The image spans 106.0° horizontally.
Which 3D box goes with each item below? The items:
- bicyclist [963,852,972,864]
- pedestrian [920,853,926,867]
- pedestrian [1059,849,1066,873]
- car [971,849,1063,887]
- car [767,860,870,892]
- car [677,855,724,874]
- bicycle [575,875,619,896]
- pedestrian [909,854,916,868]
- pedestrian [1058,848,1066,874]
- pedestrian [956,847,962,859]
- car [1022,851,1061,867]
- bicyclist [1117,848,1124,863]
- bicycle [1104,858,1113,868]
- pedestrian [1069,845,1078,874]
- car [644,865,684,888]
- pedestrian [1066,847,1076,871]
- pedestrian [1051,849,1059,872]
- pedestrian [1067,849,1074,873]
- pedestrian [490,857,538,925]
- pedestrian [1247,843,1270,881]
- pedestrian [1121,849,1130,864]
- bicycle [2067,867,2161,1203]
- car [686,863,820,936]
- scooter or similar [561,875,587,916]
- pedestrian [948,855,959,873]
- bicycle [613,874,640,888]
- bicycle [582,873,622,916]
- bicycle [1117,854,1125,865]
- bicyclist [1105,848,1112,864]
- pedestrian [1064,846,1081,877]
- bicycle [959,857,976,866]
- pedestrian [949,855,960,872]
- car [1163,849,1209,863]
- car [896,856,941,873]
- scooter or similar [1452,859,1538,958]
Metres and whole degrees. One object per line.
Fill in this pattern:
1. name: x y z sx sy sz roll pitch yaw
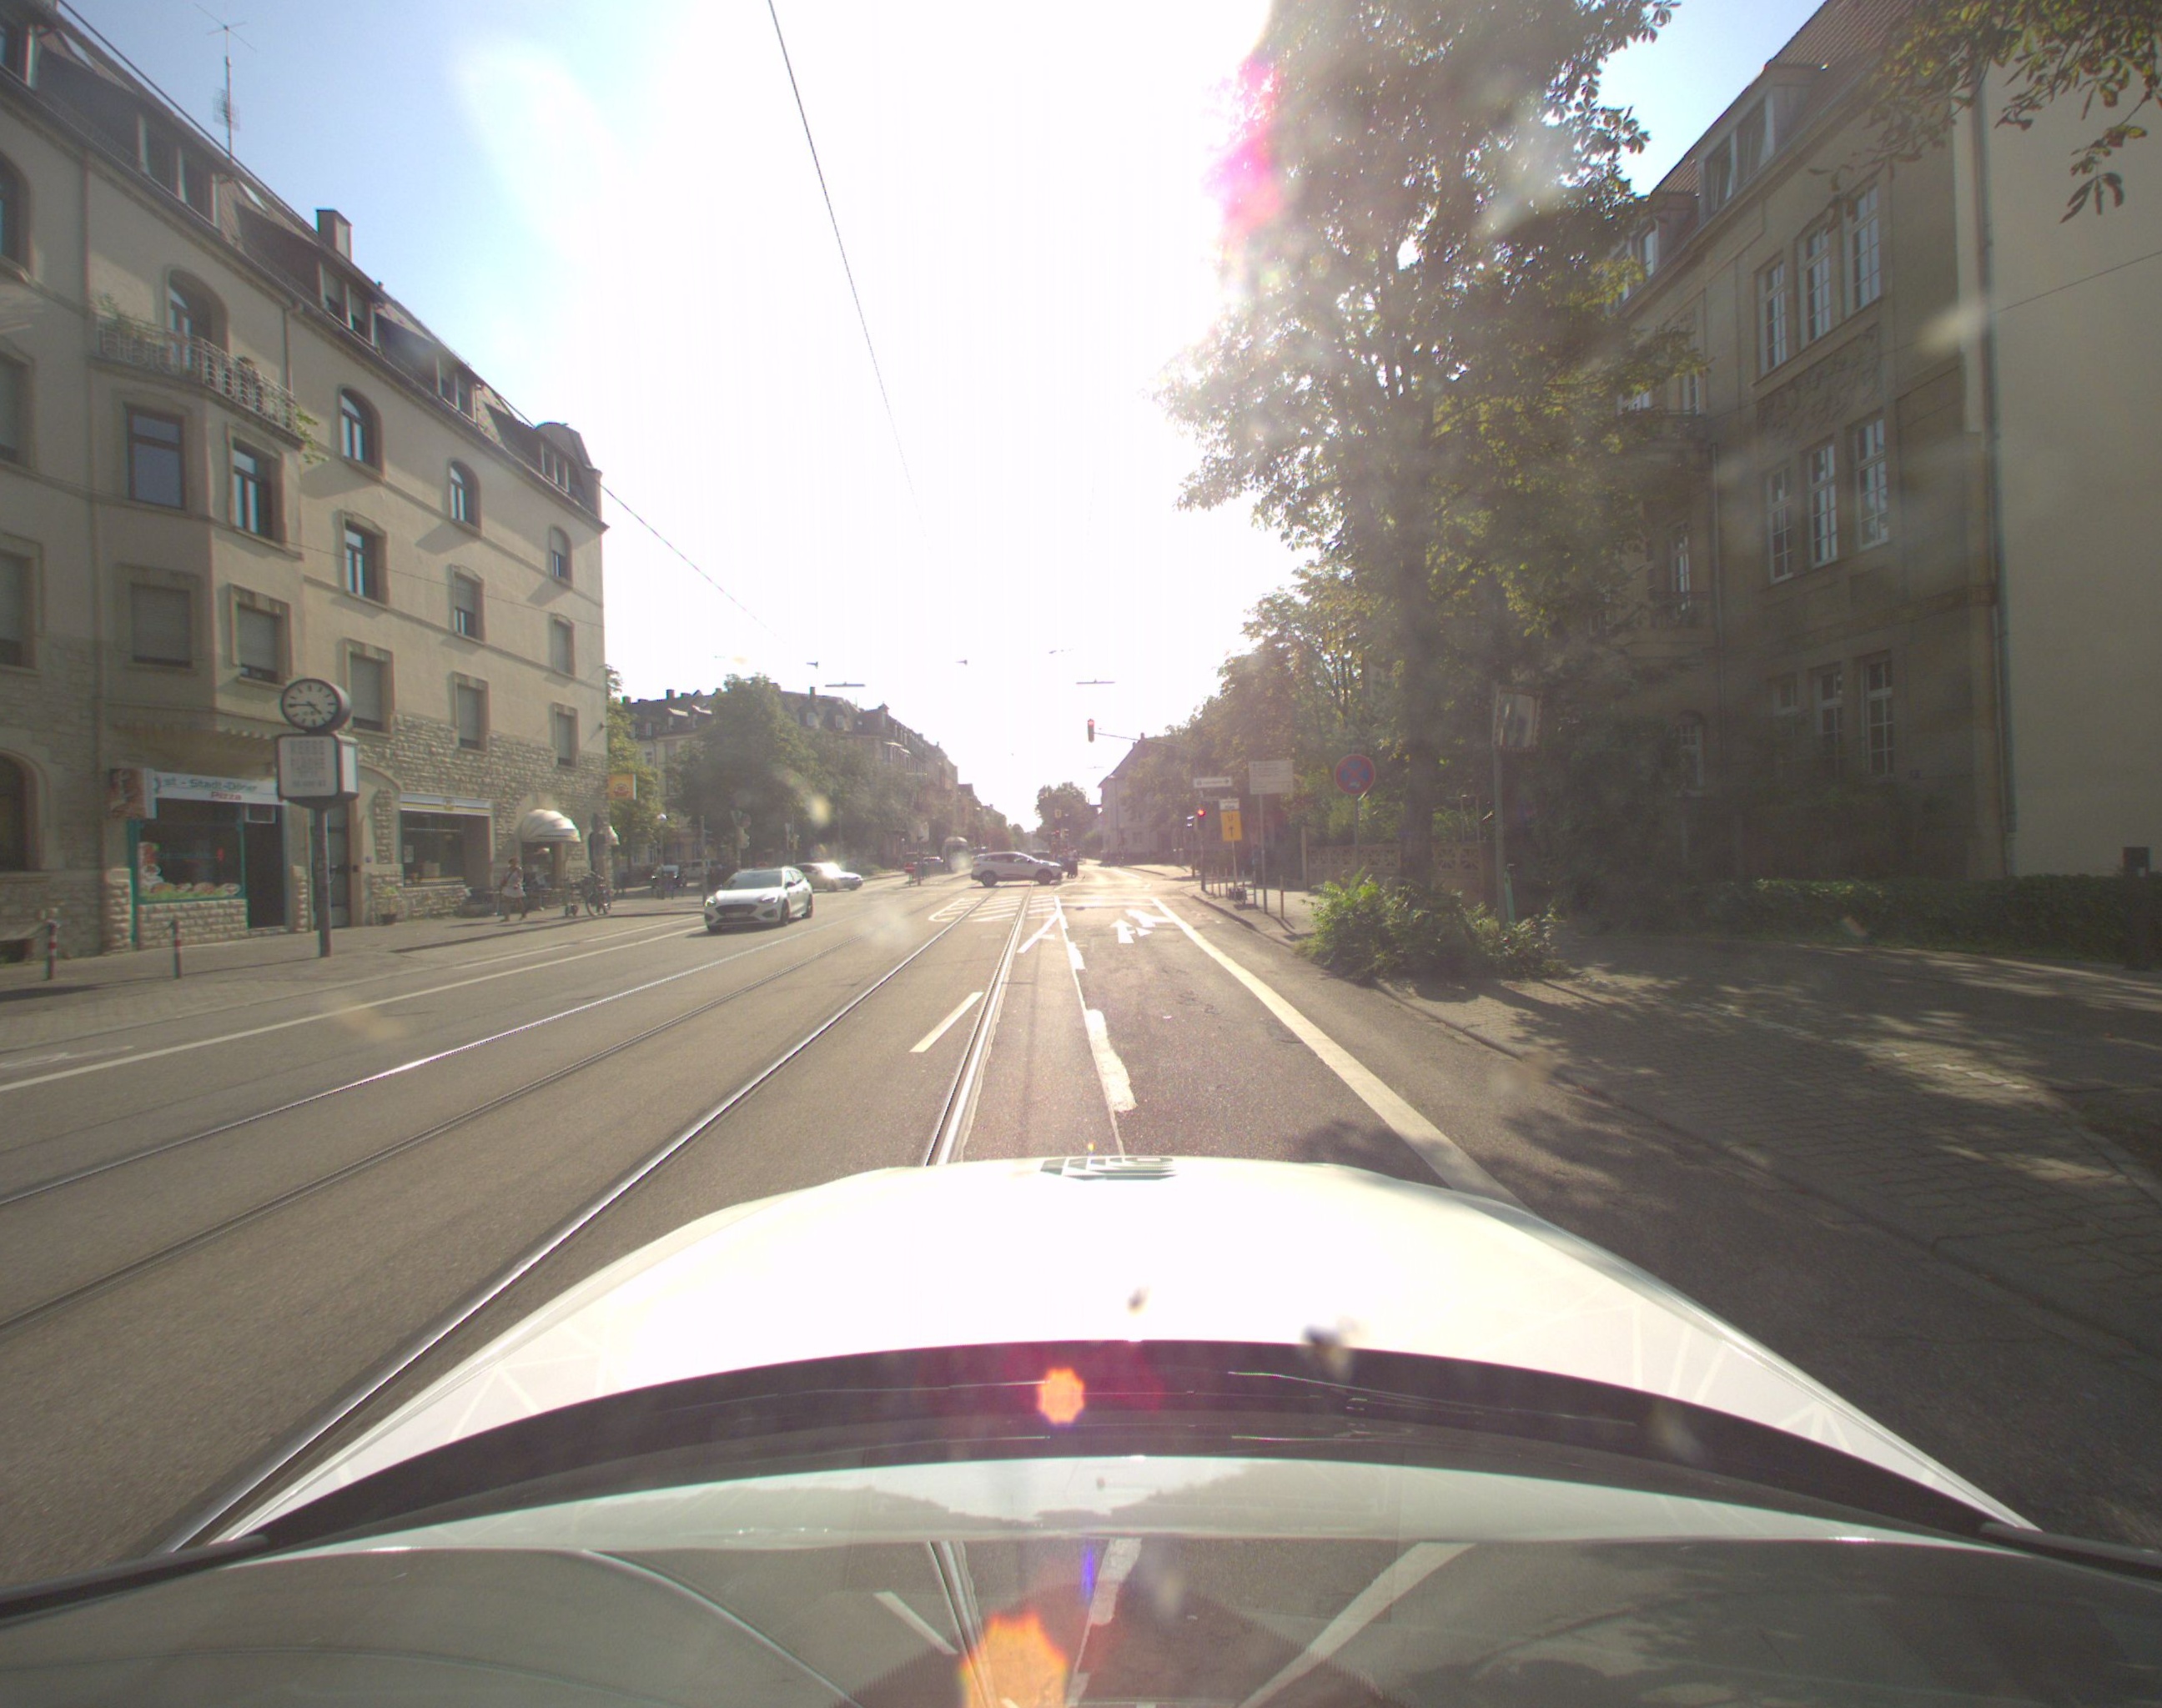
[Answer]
1. bicyclist: -12.634 0.452 90.514 0.816 1.328 0.548 -2 0 -2
2. pedestrian: -19.504 0.751 100.748 0.527 1.759 0.548 2 2 23
3. pedestrian: -1.399 0.510 61.376 0.541 1.759 0.534 1 2 -2
4. car: -3.048 0.657 39.539 4.306 1.630 1.999 -2 0 -2
5. car: -13.178 1.103 40.882 4.730 1.466 1.880 -2 0 20
6. car: -38.692 1.047 82.847 3.954 1.828 2.010 -2 0 19
7. bicycle: -25.242 1.633 42.486 0.562 1.003 1.890 -2 -1 34
8. pedestrian: -20.423 0.809 98.756 0.528 1.690 0.547 1 2 18
9. pedestrian: -1.304 0.505 56.562 0.503 1.759 0.534 1 2 -2
10. pedestrian: -17.882 -0.138 119.313 0.750 1.731 0.768 -2 0 -11
11. car: -4.381 0.536 90.805 4.312 1.675 1.998 -2 0 -3
12. bicyclist: 3.819 0.182 78.717 0.557 1.416 0.870 -2 0 -4
13. bicycle: 2.672 0.886 79.081 0.627 0.978 1.768 -2 0 -4
14. pedestrian: -0.492 0.367 51.893 0.503 1.833 0.534 1 2 -2
15. car: -29.286 1.533 57.290 1.871 1.466 4.754 -2 0 -20
16. pedestrian: -0.729 0.379 60.784 0.707 1.759 0.533 1 2 -2
17. pedestrian: -2.007 0.518 62.768 0.530 1.759 0.544 1 2 -1
18. pedestrian: -0.759 0.506 61.400 0.503 1.759 0.534 1 2 -2
19. pedestrian: -16.086 1.029 23.127 0.772 1.859 0.829 -2 0 -5
20. pedestrian: 8.124 0.362 37.325 0.750 1.731 0.768 -2 0 -11
21. pedestrian: 5.309 0.270 97.403 0.884 1.740 0.780 -2 0 19
22. bicycle: 4.829 0.705 3.507 1.853 1.166 0.498 -5 -4 -43
23. car: -8.188 1.059 20.818 1.870 1.454 4.536 -4 1 -6
24. scooter or similar: -15.415 1.254 24.737 1.021 1.197 0.369 -2 0 41
25. pedestrian: -10.005 0.760 63.845 0.827 1.359 0.774 -2 0 -7
26. bicycle: -35.045 2.109 62.826 1.756 0.978 0.606 -2 0 5
27. bicycle: -14.861 1.241 25.301 0.453 1.226 1.849 -2 0 -12
28. bicycle: 3.837 0.522 78.704 0.557 0.978 1.854 -2 0 -4
29. bicyclist: 2.655 0.185 79.079 0.627 1.507 0.677 -2 0 -4
30. pedestrian: -0.509 0.418 47.626 0.693 1.725 0.753 2 3 30
31. bicycle: -12.599 0.802 90.522 1.845 0.958 0.548 -2 0 -2
32. pedestrian: -10.064 0.762 64.820 0.827 1.359 0.774 -2 0 -7
33. car: 10.910 0.232 84.723 4.280 1.320 2.013 -2 0 37
34. car: -17.334 1.116 86.902 4.342 1.569 1.984 -2 0 -24
35. scooter or similar: 5.428 0.690 10.738 0.555 1.197 1.035 -5 0 3
